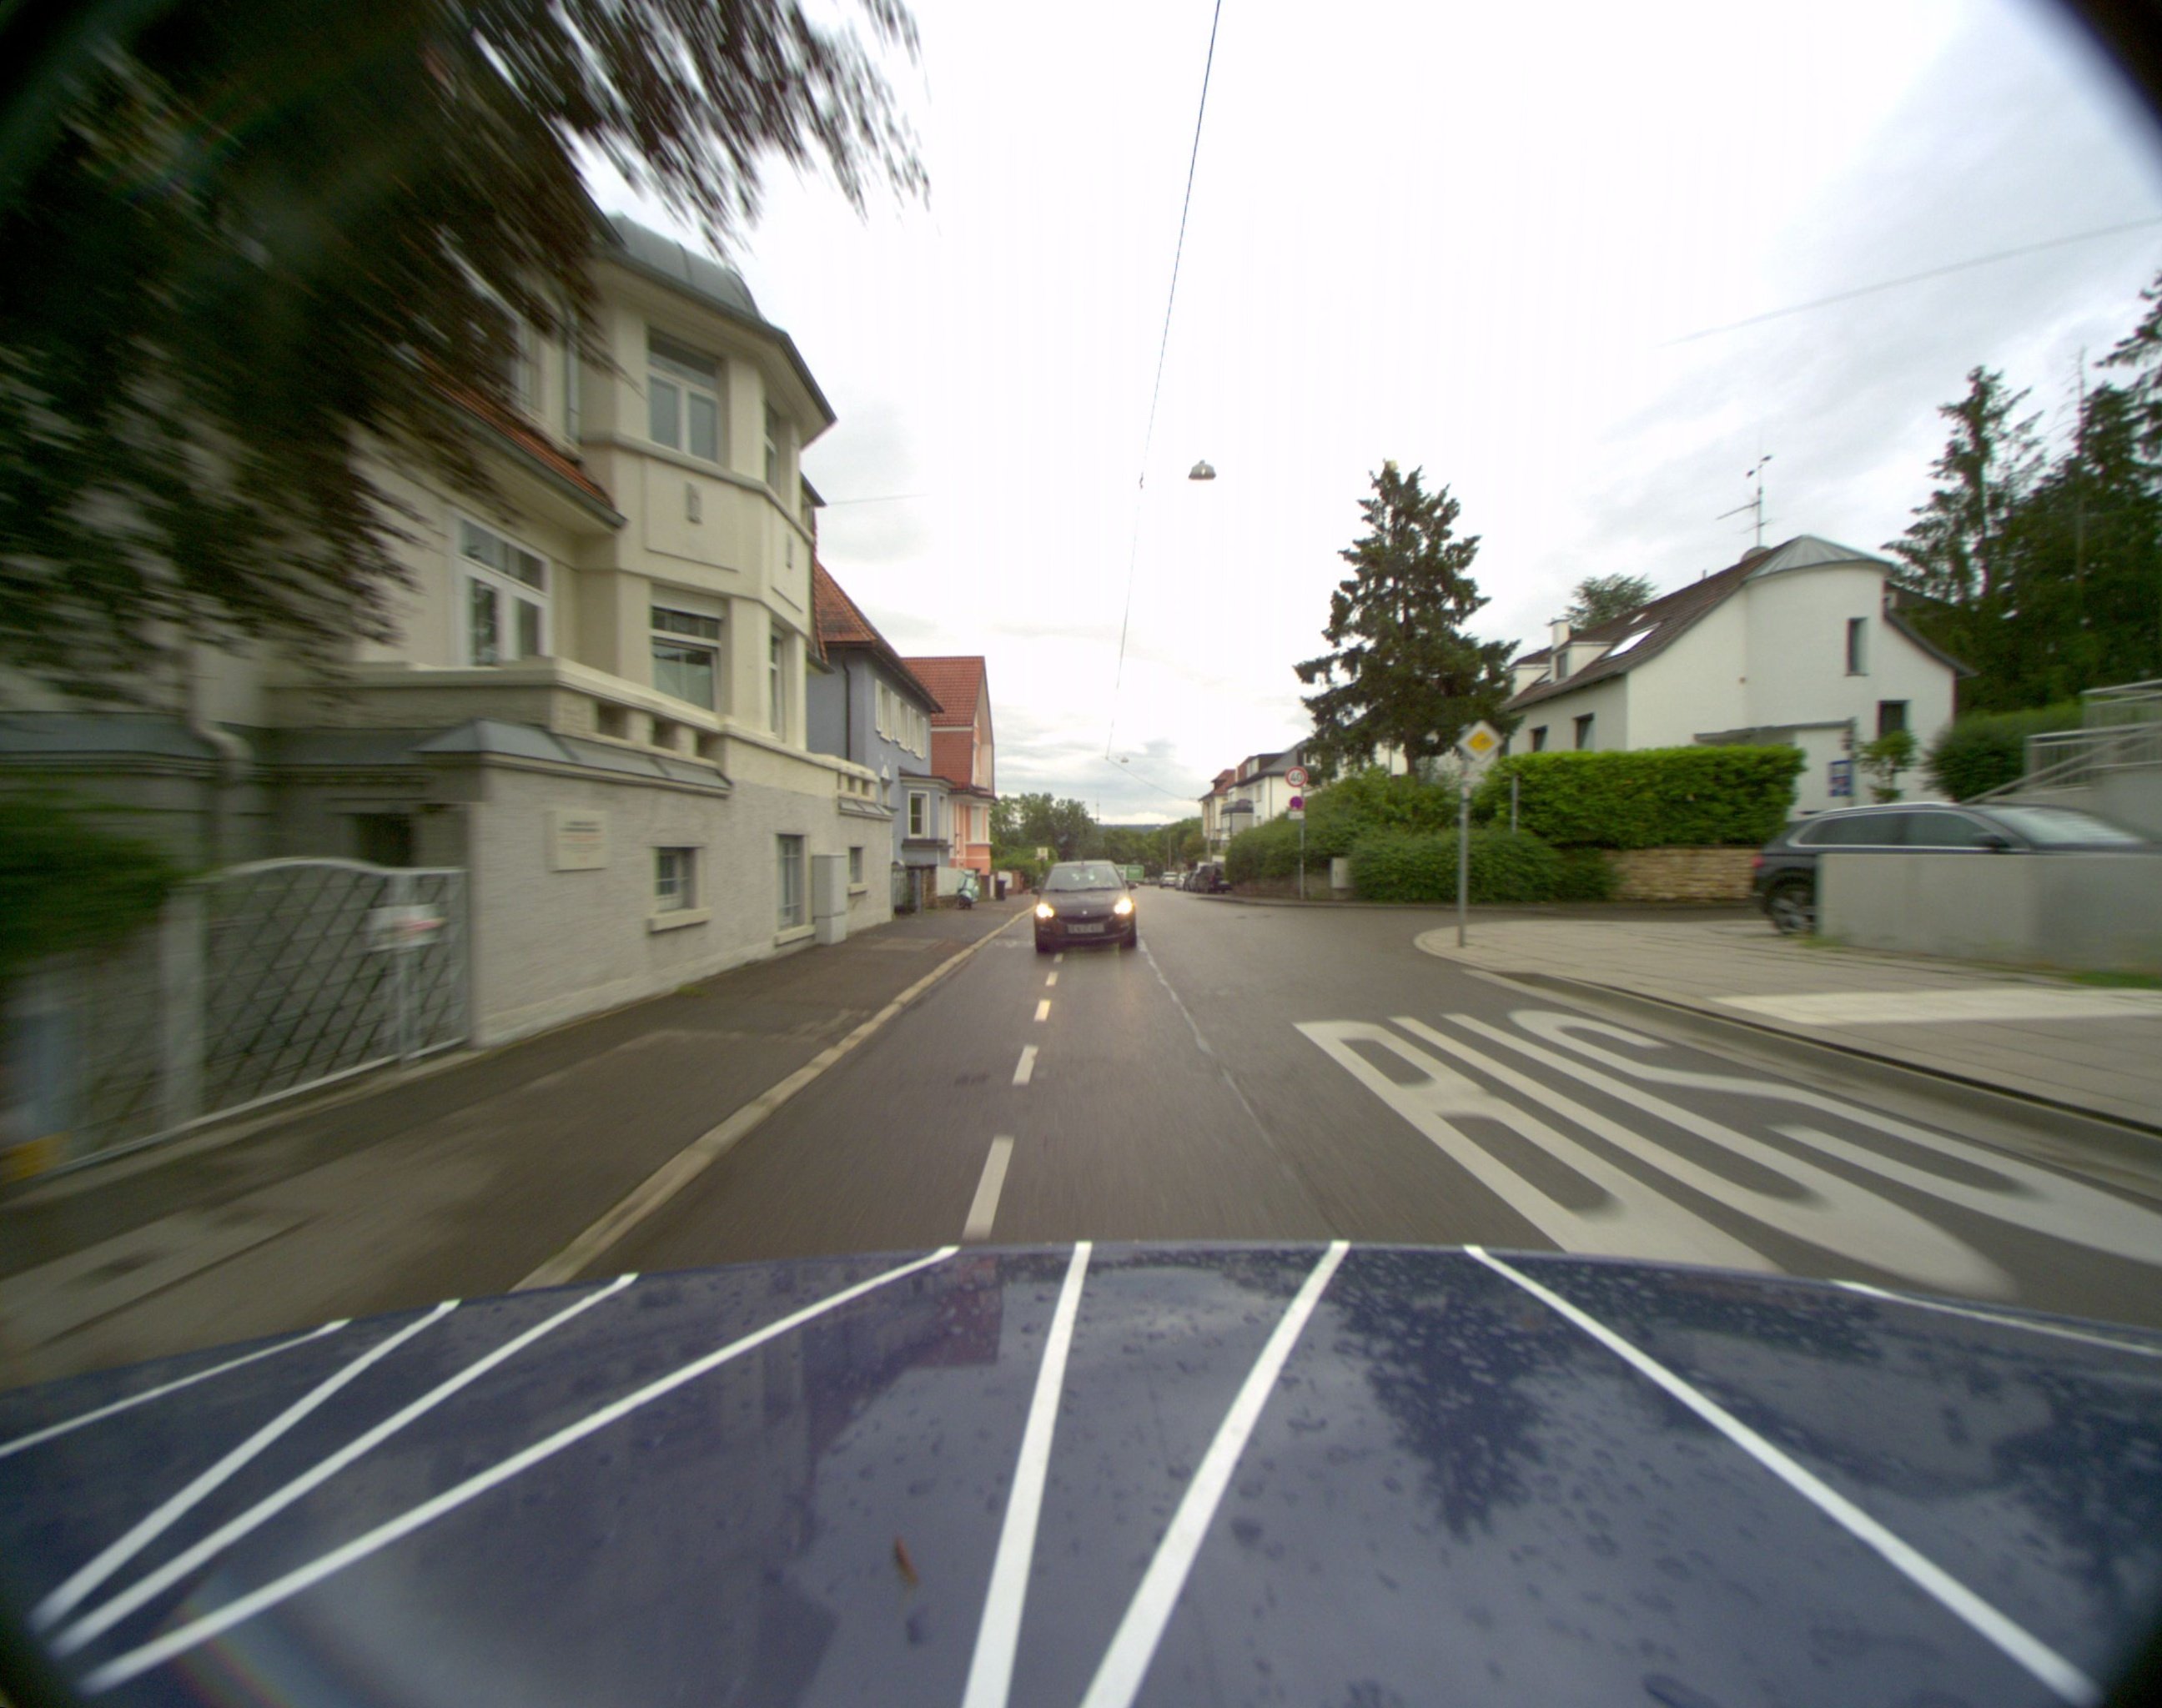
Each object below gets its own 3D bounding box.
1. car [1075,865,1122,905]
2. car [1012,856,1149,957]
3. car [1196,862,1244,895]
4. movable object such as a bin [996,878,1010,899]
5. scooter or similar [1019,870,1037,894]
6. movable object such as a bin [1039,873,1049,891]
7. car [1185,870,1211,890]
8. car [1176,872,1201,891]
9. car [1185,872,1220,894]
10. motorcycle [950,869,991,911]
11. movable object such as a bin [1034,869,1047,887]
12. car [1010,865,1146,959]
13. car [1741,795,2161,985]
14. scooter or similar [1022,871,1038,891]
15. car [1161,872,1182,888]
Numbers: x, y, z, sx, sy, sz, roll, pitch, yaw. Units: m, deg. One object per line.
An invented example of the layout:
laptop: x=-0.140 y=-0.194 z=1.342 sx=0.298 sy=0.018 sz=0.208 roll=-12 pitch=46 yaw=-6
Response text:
car: x=0.751 y=1.326 z=33.386 sx=1.928 sy=1.577 sz=4.001 roll=-1 pitch=-1 yaw=1
car: x=0.152 y=0.862 z=13.586 sx=1.695 sy=1.482 sz=3.944 roll=-3 pitch=-2 yaw=10
car: x=8.744 y=1.567 z=48.250 sx=1.999 sy=1.945 sz=4.775 roll=-2 pitch=-2 yaw=-1
movable object such as a bin: x=-3.477 y=1.540 z=33.776 sx=0.533 sy=0.913 sz=0.488 roll=2 pitch=-1 yaw=-1
scooter or similar: x=-3.148 y=1.669 z=45.504 sx=0.355 sy=1.394 sz=1.481 roll=-2 pitch=-1 yaw=25
movable object such as a bin: x=-2.676 y=2.012 z=54.544 sx=0.613 sy=1.238 sz=0.684 roll=-1 pitch=-1 yaw=5
car: x=9.015 y=1.989 z=58.612 sx=1.521 sy=1.482 sz=2.895 roll=-2 pitch=-2 yaw=1
car: x=8.890 y=2.262 z=63.018 sx=1.594 sy=1.482 sz=3.439 roll=-2 pitch=-2 yaw=2
car: x=8.583 y=2.051 z=54.091 sx=1.696 sy=1.482 sz=4.404 roll=-2 pitch=-2 yaw=-1
motorcycle: x=-3.451 y=1.111 z=23.984 sx=0.694 sy=1.218 sz=2.154 roll=5 pitch=-1 yaw=5
movable object such as a bin: x=-2.848 y=1.718 z=53.642 sx=0.726 sy=1.238 sz=0.917 roll=2 pitch=-1 yaw=5
car: x=0.113 y=0.939 z=13.619 sx=1.710 sy=1.413 sz=4.004 roll=-1 pitch=-1 yaw=10
car: x=9.946 y=0.333 z=8.326 sx=1.770 sy=1.608 sz=4.000 roll=-1 pitch=-1 yaw=-3
scooter or similar: x=-3.271 y=1.730 z=48.593 sx=0.357 sy=1.265 sz=1.290 roll=-1 pitch=1 yaw=-37
car: x=9.016 y=2.615 z=75.928 sx=1.868 sy=1.491 sz=4.002 roll=-1 pitch=-1 yaw=4
